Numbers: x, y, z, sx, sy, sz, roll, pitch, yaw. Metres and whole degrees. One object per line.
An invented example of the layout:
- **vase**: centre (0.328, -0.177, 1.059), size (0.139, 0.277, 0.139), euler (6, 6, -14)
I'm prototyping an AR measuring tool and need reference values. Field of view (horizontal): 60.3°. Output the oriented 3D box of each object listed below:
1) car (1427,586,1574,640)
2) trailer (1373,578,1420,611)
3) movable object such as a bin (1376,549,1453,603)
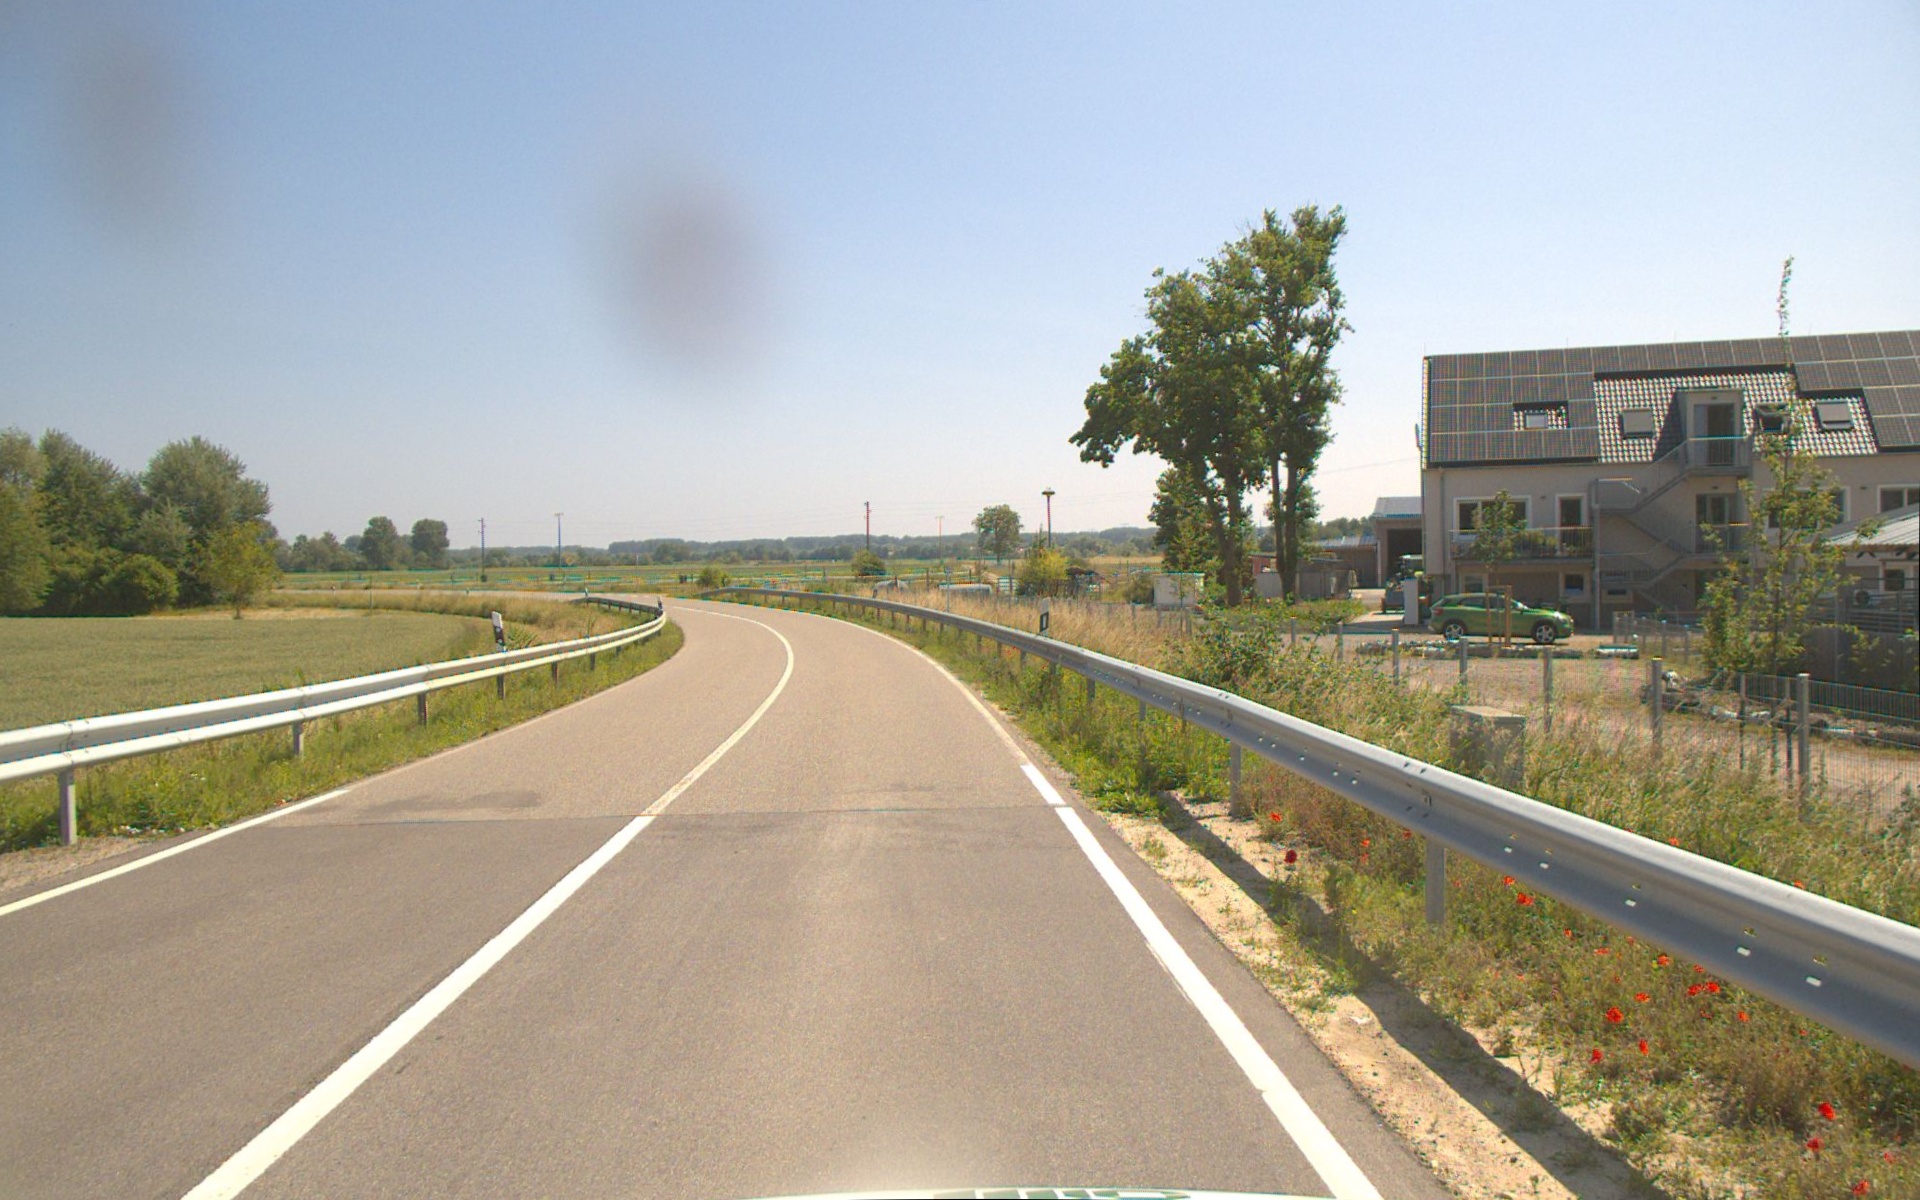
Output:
- **car**: centre (16.787, 0.394, 51.471), size (4.268, 1.608, 1.934), euler (1, 0, 18)
- **trailer**: centre (20.728, -0.253, 78.519), size (1.676, 1.522, 3.139), euler (0, -1, 24)
- **movable object such as a bin**: centre (24.685, -1.370, 90.082), size (2.939, 2.818, 6.510), euler (0, 2, 5)
